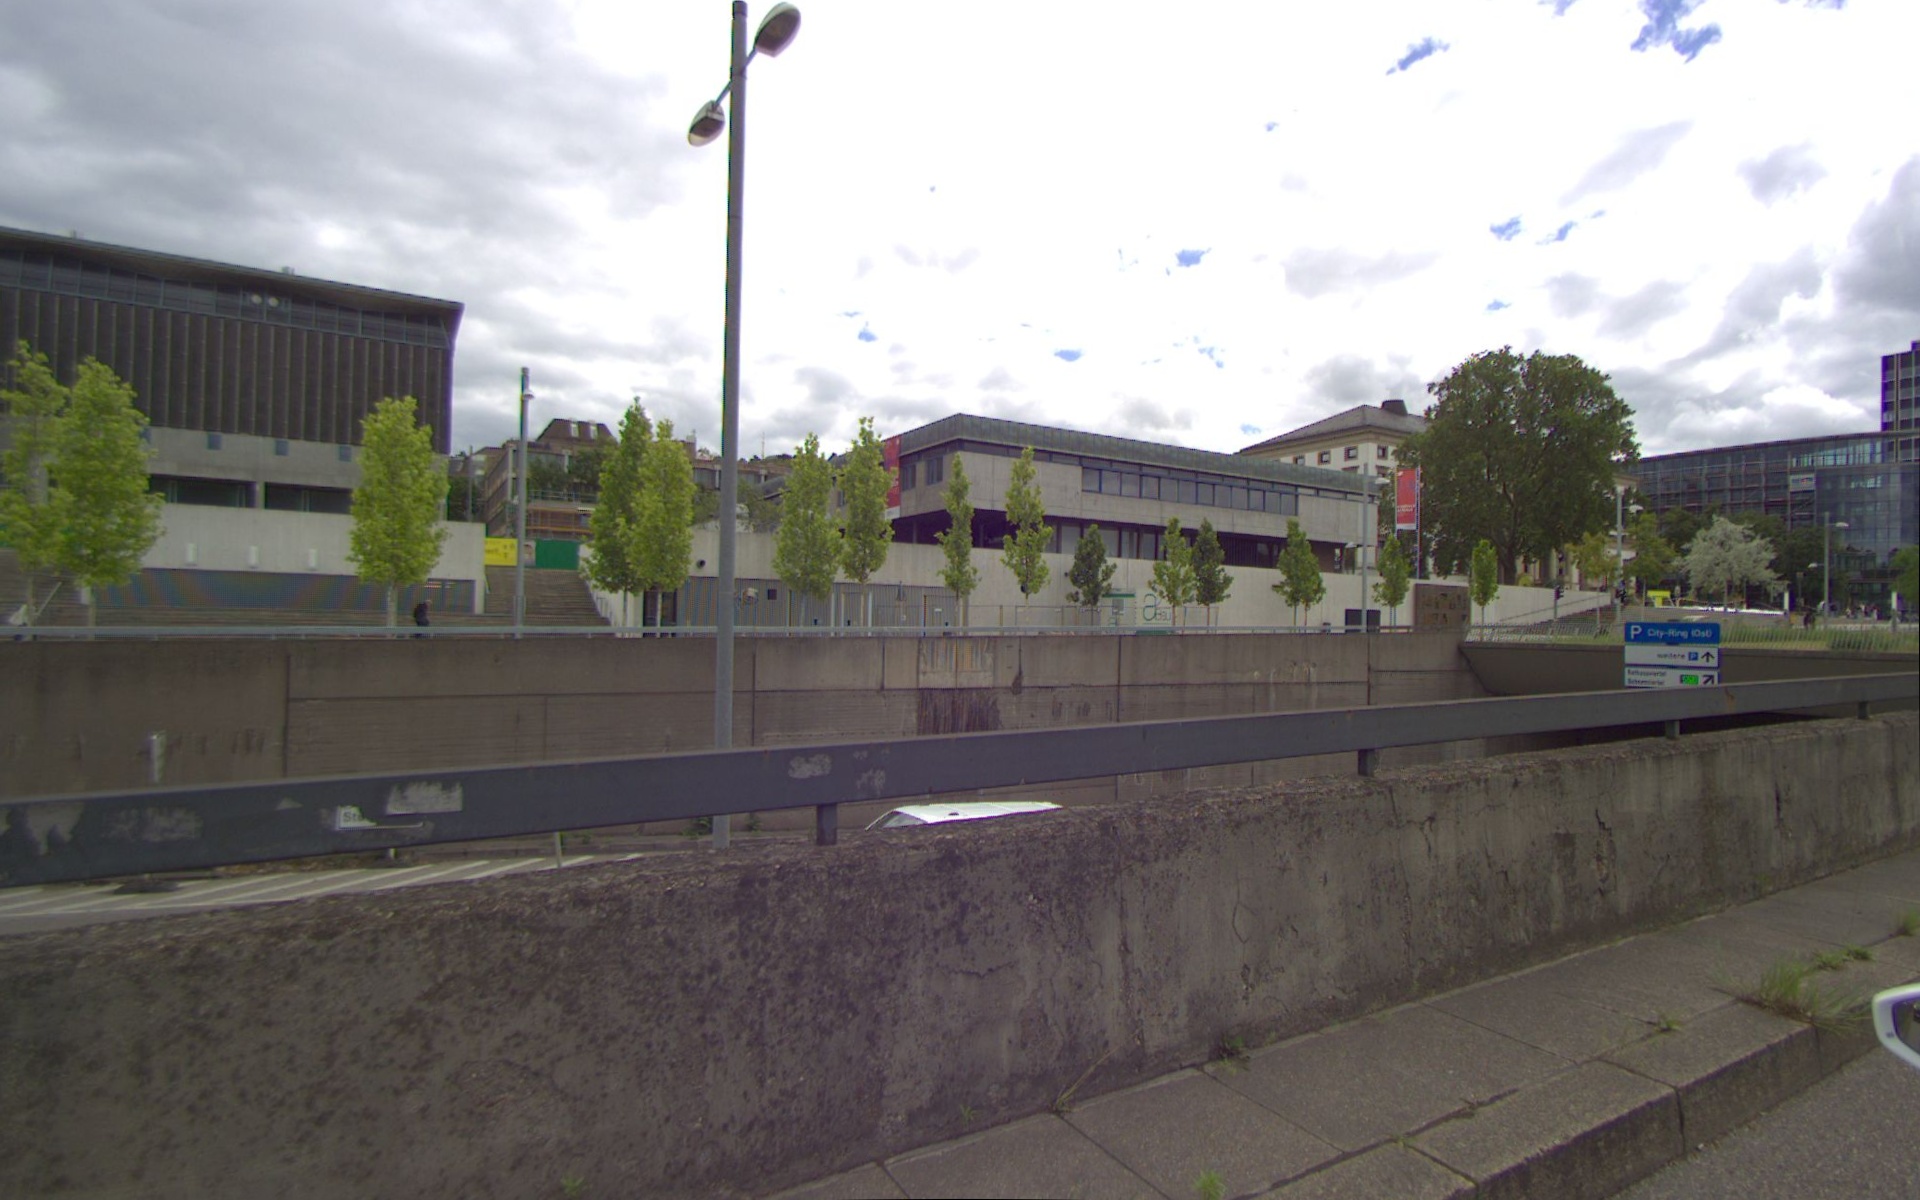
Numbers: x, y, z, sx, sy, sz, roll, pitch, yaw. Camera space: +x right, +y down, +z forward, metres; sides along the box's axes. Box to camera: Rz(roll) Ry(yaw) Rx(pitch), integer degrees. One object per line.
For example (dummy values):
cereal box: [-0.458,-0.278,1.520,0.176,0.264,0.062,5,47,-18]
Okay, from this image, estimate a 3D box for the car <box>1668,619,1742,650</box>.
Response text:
car: [47.033,2.172,63.429,4.682,1.879,2.163,1,-1,-31]

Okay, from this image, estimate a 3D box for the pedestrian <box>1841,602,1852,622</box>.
pedestrian: [91.843,1.264,104.063,0.730,2.040,1.109,-1,0,40]

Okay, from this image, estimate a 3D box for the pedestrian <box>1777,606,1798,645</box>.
pedestrian: [44.825,1.356,54.412,0.623,2.041,0.724,-5,3,-37]

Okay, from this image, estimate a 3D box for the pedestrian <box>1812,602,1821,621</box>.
pedestrian: [91.373,1.225,107.122,0.730,2.040,0.789,-1,0,40]

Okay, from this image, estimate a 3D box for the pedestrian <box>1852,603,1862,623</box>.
pedestrian: [92.547,1.298,103.605,0.730,2.040,0.789,-1,0,40]

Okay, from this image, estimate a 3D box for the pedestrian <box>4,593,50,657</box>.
pedestrian: [-30.063,0.797,32.372,0.777,2.040,0.741,-1,0,1]

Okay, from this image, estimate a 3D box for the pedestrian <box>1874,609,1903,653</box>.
pedestrian: [43.649,1.459,47.236,0.622,2.040,0.856,-1,0,-30]

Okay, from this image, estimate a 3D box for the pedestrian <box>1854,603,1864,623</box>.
pedestrian: [93.948,1.352,104.928,0.730,2.040,0.789,-1,0,40]

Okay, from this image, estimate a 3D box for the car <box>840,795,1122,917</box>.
car: [0.461,4.779,19.295,5.191,1.659,1.984,3,-8,-32]

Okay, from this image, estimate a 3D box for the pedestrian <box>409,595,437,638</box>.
pedestrian: [-20.887,0.636,39.103,0.779,1.664,0.738,-1,0,-15]

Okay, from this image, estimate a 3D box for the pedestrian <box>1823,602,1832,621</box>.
pedestrian: [91.537,1.238,106.001,0.730,2.040,0.789,-1,0,40]

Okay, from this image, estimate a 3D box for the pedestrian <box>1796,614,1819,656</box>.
pedestrian: [42.031,1.723,49.819,0.779,2.040,0.834,-1,0,33]

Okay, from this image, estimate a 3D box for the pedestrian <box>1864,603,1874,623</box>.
pedestrian: [94.111,1.374,103.998,0.730,2.040,1.109,-1,0,40]

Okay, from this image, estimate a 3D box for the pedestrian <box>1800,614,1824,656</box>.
pedestrian: [42.602,1.746,50.242,0.779,2.040,0.834,-1,0,33]
